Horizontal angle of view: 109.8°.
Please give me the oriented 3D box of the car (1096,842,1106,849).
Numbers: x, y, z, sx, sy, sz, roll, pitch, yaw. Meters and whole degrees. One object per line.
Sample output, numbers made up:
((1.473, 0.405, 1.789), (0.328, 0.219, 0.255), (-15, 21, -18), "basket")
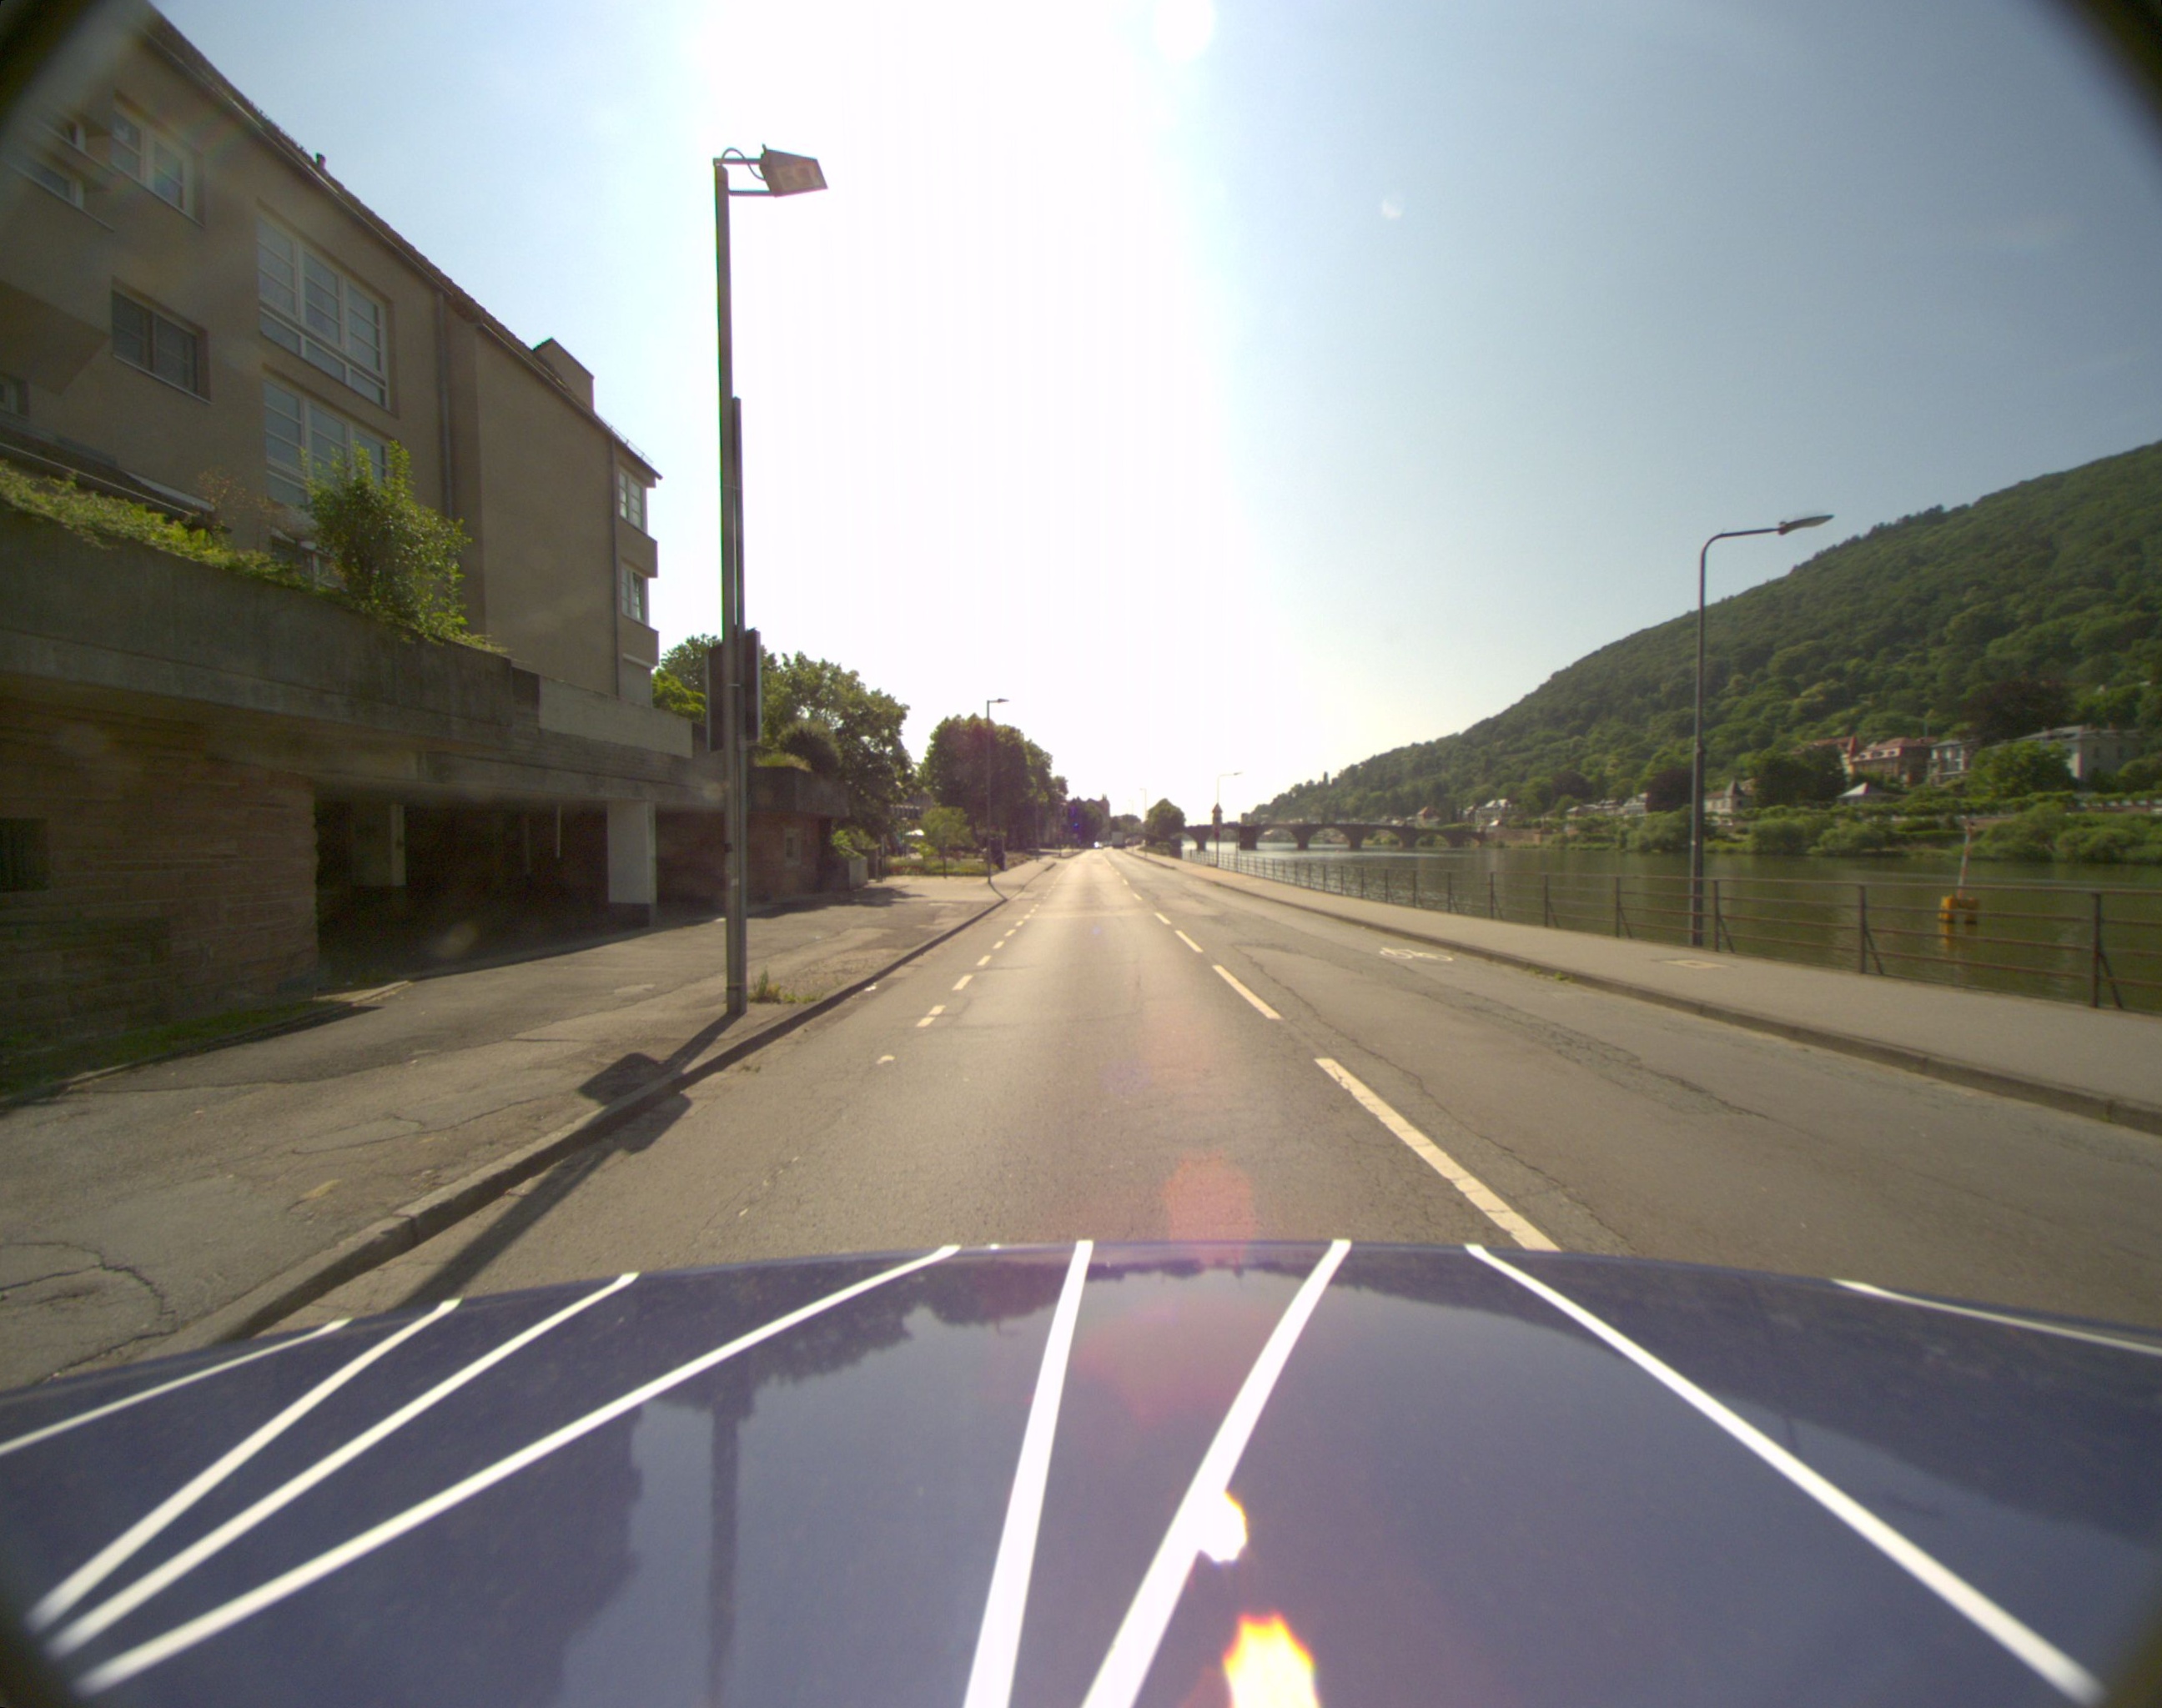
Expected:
((4.412, -1.741, 164.099), (1.998, 1.433, 4.001), (1, 0, 3), "car")
